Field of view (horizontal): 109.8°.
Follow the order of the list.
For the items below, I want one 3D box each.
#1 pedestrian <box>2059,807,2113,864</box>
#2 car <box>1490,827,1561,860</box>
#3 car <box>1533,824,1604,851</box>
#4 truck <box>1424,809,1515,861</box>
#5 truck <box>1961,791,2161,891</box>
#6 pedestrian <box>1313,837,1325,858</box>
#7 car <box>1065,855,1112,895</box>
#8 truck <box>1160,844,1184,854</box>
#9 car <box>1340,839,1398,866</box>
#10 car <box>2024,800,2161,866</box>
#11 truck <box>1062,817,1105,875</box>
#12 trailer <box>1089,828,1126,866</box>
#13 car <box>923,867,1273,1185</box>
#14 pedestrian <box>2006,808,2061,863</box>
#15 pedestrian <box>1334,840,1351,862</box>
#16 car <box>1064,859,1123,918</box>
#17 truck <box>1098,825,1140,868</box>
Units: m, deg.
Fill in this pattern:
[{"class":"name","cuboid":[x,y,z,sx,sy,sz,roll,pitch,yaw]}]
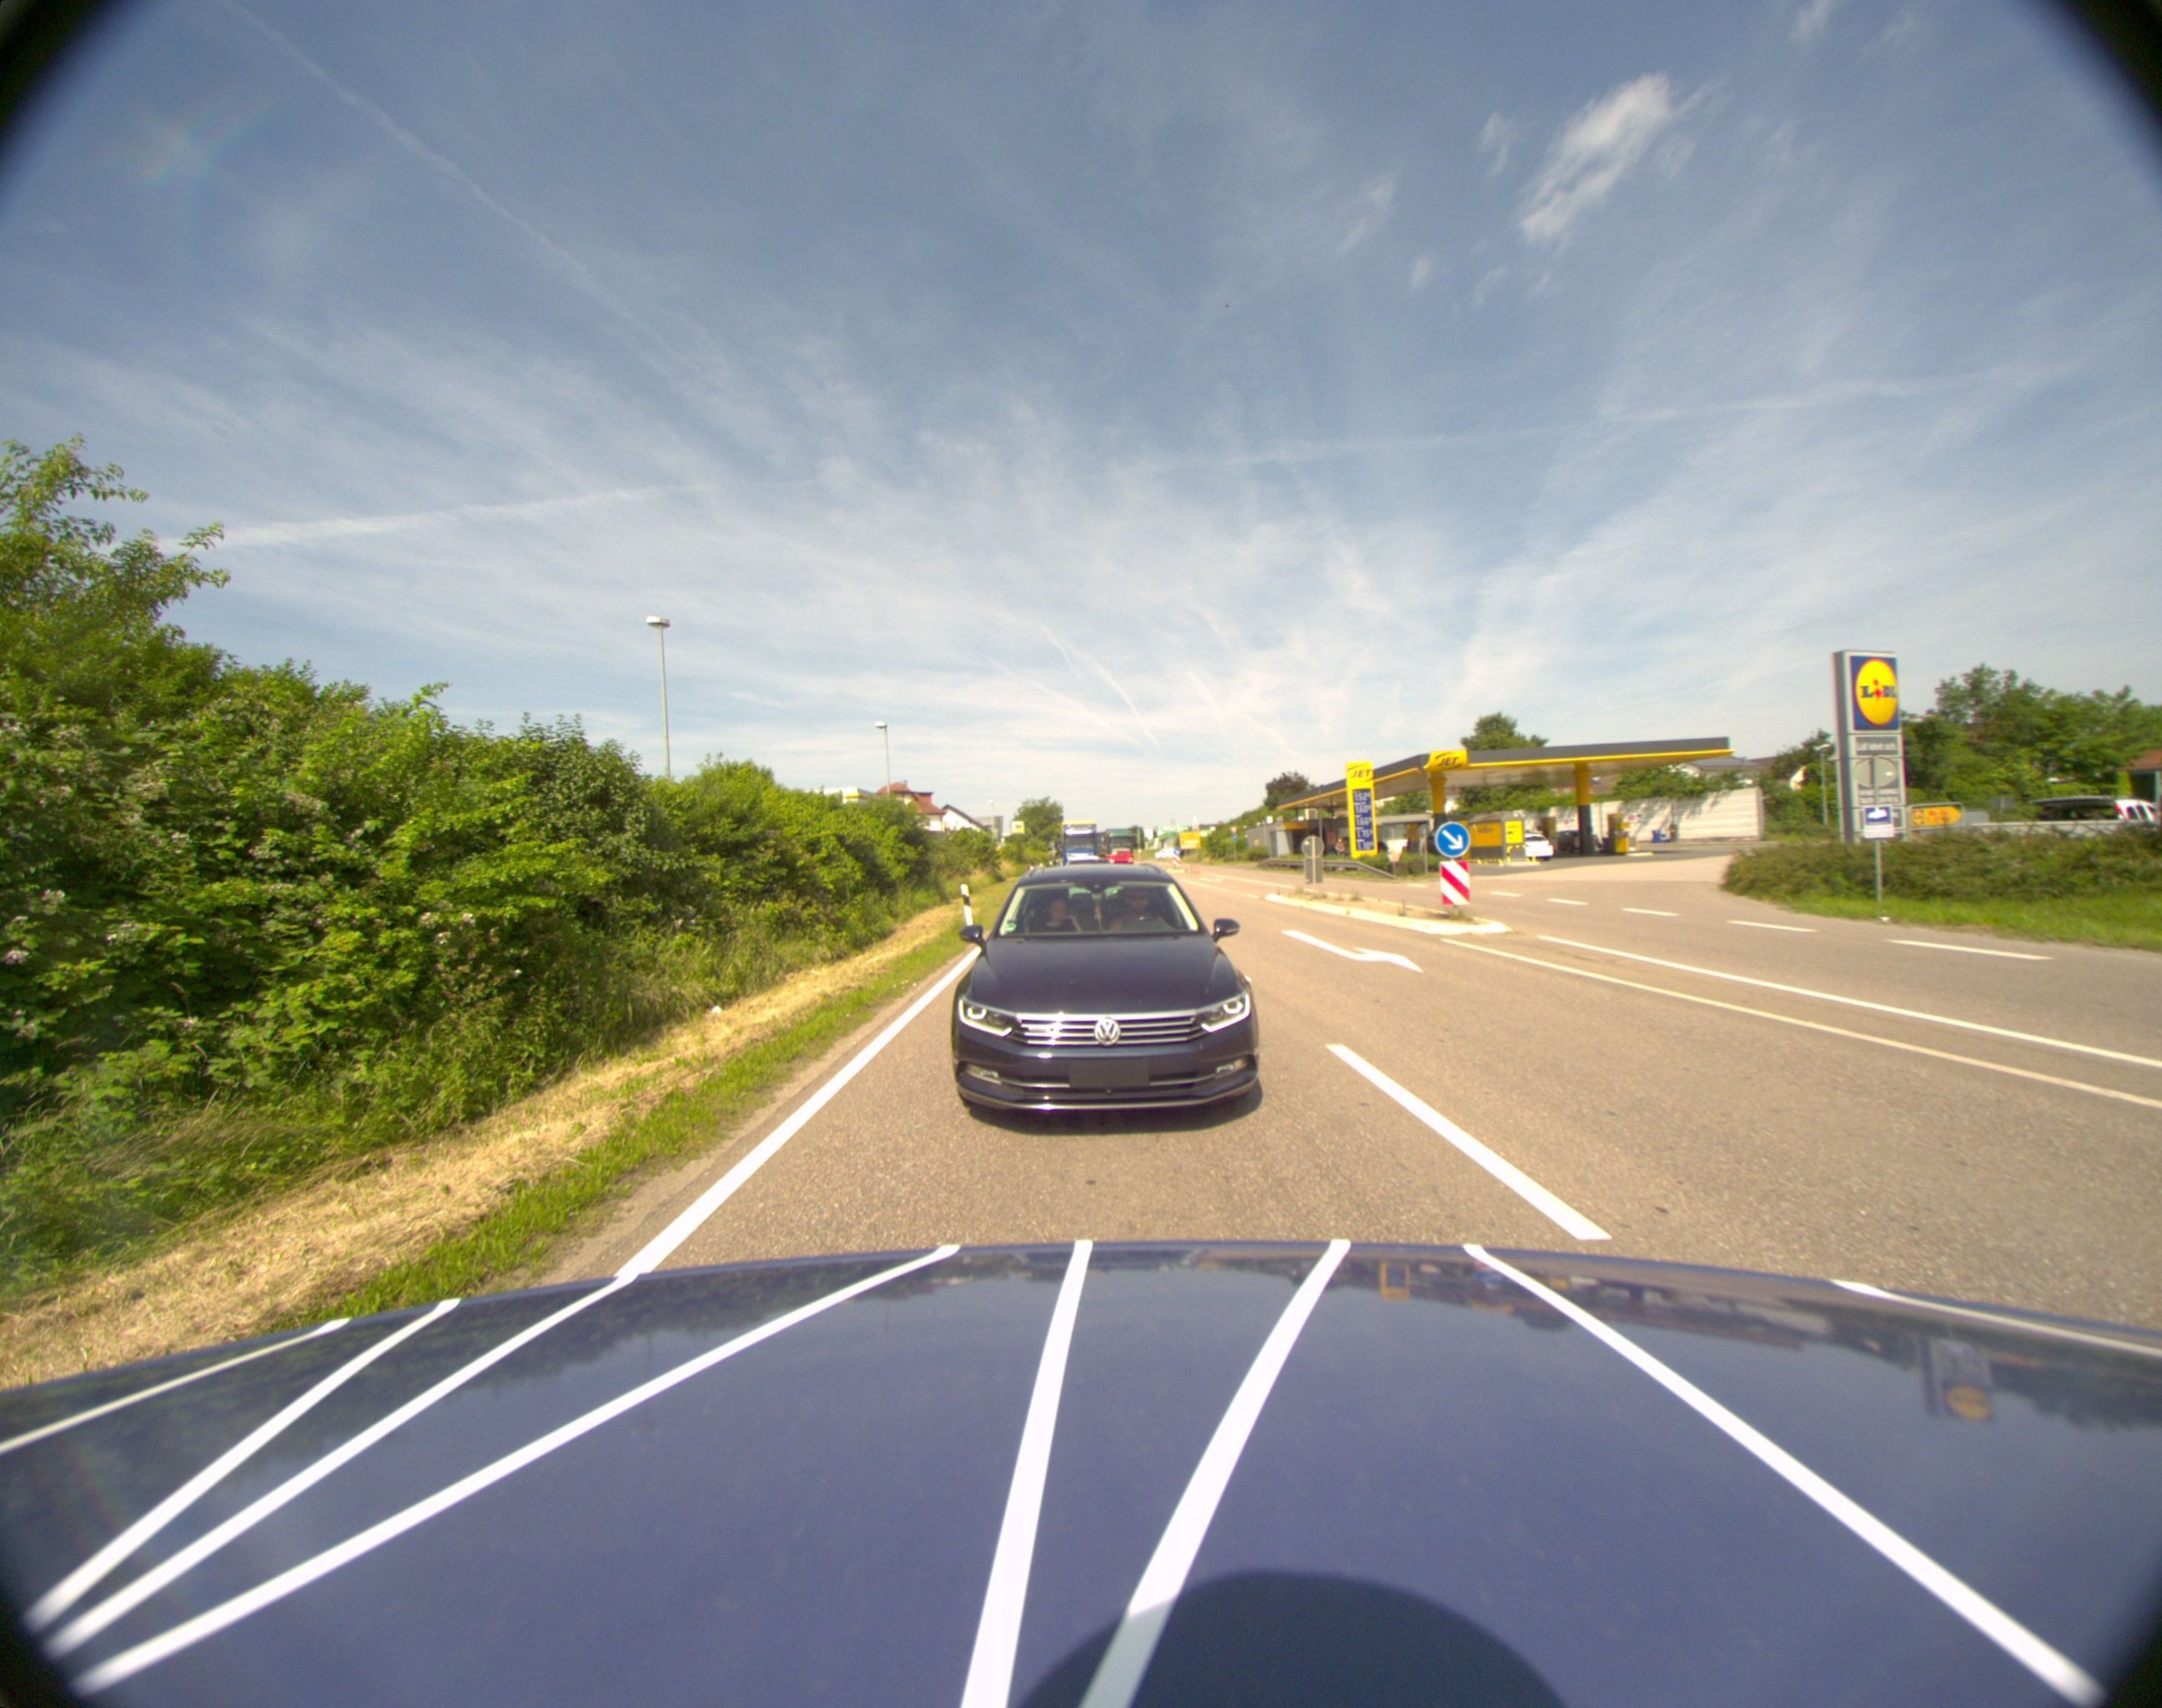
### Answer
[{"class":"pedestrian","cuboid":[28.438,-0.524,21.503,0.705,1.566,0.807,-3,2,-27]},{"class":"car","cuboid":[24.240,-0.541,41.606,1.736,1.718,4.001,-1,0,3]},{"class":"car","cuboid":[32.191,-1.055,50.303,1.753,1.603,3.873,-2,0,-10]},{"class":"truck","cuboid":[23.849,-1.150,46.998,2.250,2.906,6.282,-2,1,-1]},{"class":"truck","cuboid":[26.329,-0.341,18.386,2.253,2.361,6.334,-2,0,-34]},{"class":"pedestrian","cuboid":[20.685,-0.549,65.977,0.798,1.827,0.640,-3,1,1]},{"class":"car","cuboid":[0.324,0.821,31.539,1.814,1.466,3.974,-2,0,1]},{"class":"truck","cuboid":[19.412,-1.053,162.389,4.771,1.997,2.000,-3,1,0]},{"class":"car","cuboid":[19.035,-0.100,50.385,1.999,1.696,4.263,-2,0,-3]},{"class":"car","cuboid":[30.683,-0.639,22.794,4.172,1.801,1.877,-3,1,-23]},{"class":"truck","cuboid":[0.270,-0.582,60.284,2.855,3.999,12.916,-2,0,1]},{"class":"trailer","cuboid":[2.820,-0.730,84.806,2.810,3.897,8.664,-3,0,-6]},{"class":"car","cuboid":[0.124,0.929,6.376,1.756,1.493,4.925,-2,0,1]},{"class":"pedestrian","cuboid":[28.165,-0.537,22.485,0.705,1.566,0.808,-2,1,-18]},{"class":"pedestrian","cuboid":[17.723,-0.201,51.491,0.914,1.419,0.494,-2,1,6]},{"class":"car","cuboid":[0.356,0.902,21.616,1.471,1.451,3.797,-2,0,1]},{"class":"truck","cuboid":[3.651,-0.693,75.513,2.676,3.897,10.044,-3,0,-5]}]
